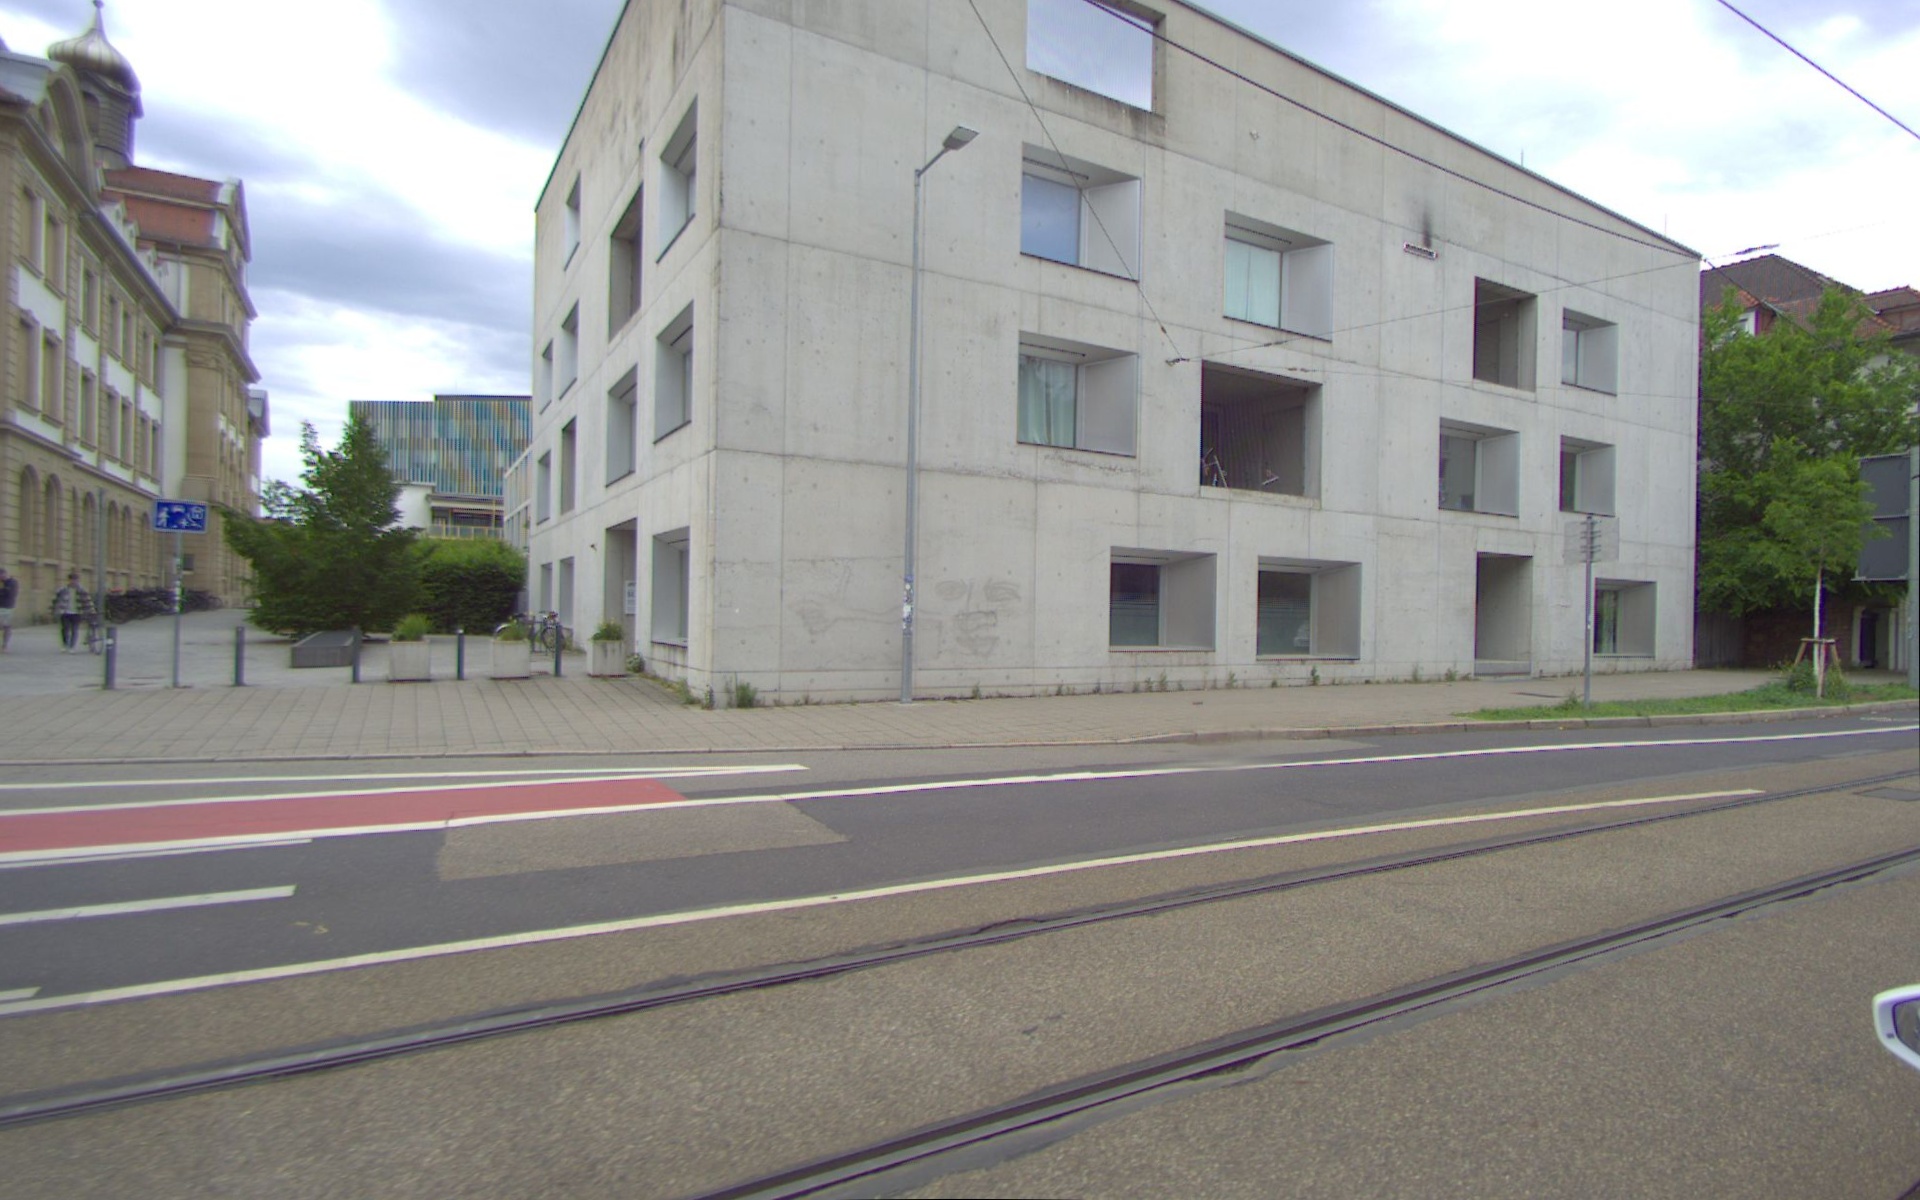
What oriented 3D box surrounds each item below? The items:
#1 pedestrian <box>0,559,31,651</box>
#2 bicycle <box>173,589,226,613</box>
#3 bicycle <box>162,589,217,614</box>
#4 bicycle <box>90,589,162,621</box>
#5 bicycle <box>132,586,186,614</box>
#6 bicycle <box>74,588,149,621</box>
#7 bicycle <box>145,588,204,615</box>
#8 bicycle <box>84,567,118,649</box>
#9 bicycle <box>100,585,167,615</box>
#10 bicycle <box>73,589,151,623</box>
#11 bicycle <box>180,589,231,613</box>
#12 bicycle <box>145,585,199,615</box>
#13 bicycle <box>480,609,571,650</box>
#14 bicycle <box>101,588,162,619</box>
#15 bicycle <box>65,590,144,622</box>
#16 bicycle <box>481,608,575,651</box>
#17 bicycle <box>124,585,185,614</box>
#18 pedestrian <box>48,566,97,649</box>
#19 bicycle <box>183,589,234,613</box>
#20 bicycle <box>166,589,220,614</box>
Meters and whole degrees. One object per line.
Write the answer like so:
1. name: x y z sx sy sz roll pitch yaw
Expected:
1. pedestrian: -20.312 0.096 21.297 0.679 1.910 0.752 2 -2 41
2. bicycle: -37.626 0.062 49.703 1.904 1.088 0.715 4 -1 -25
3. bicycle: -36.825 0.065 48.032 1.904 1.088 0.715 4 -1 -25
4. bicycle: -31.592 0.196 38.092 1.904 1.088 0.715 4 -1 -25
5. bicycle: -34.362 0.015 43.114 1.693 1.088 0.544 4 -1 -25
6. bicycle: -31.227 0.178 36.999 1.904 1.088 0.715 4 -1 -25
7. bicycle: -35.620 0.076 45.568 1.904 1.088 0.715 4 -1 -25
8. bicycle: -19.415 0.176 22.701 0.927 1.803 0.357 2 -2 43
9. bicycle: -32.882 0.000 39.970 1.904 1.088 0.611 4 -1 -25
10. bicycle: -29.828 0.212 35.352 1.904 1.088 0.715 4 -1 -25
11. bicycle: -37.946 0.060 50.536 1.904 1.088 0.715 4 -1 -25
12. bicycle: -34.768 0.018 44.344 1.756 1.231 0.584 3 -1 -25
13. bicycle: -11.173 0.767 25.865 2.068 1.026 0.658 1 0 -32
14. bicycle: -32.135 0.148 38.979 1.679 1.088 0.486 4 -1 -25
15. bicycle: -29.390 0.216 34.537 1.904 0.991 0.715 4 -1 -25
16. bicycle: -10.747 0.735 25.026 2.067 1.032 0.658 1 0 -31
17. bicycle: -33.788 -0.035 42.167 1.846 1.088 0.647 4 -1 -25
18. pedestrian: -19.701 0.165 22.301 0.680 1.803 0.639 2 -2 43
19. bicycle: -38.418 0.055 51.360 1.904 1.088 0.715 4 -1 -25
20. bicycle: -37.399 0.058 49.004 1.904 1.088 0.715 4 -1 -25
